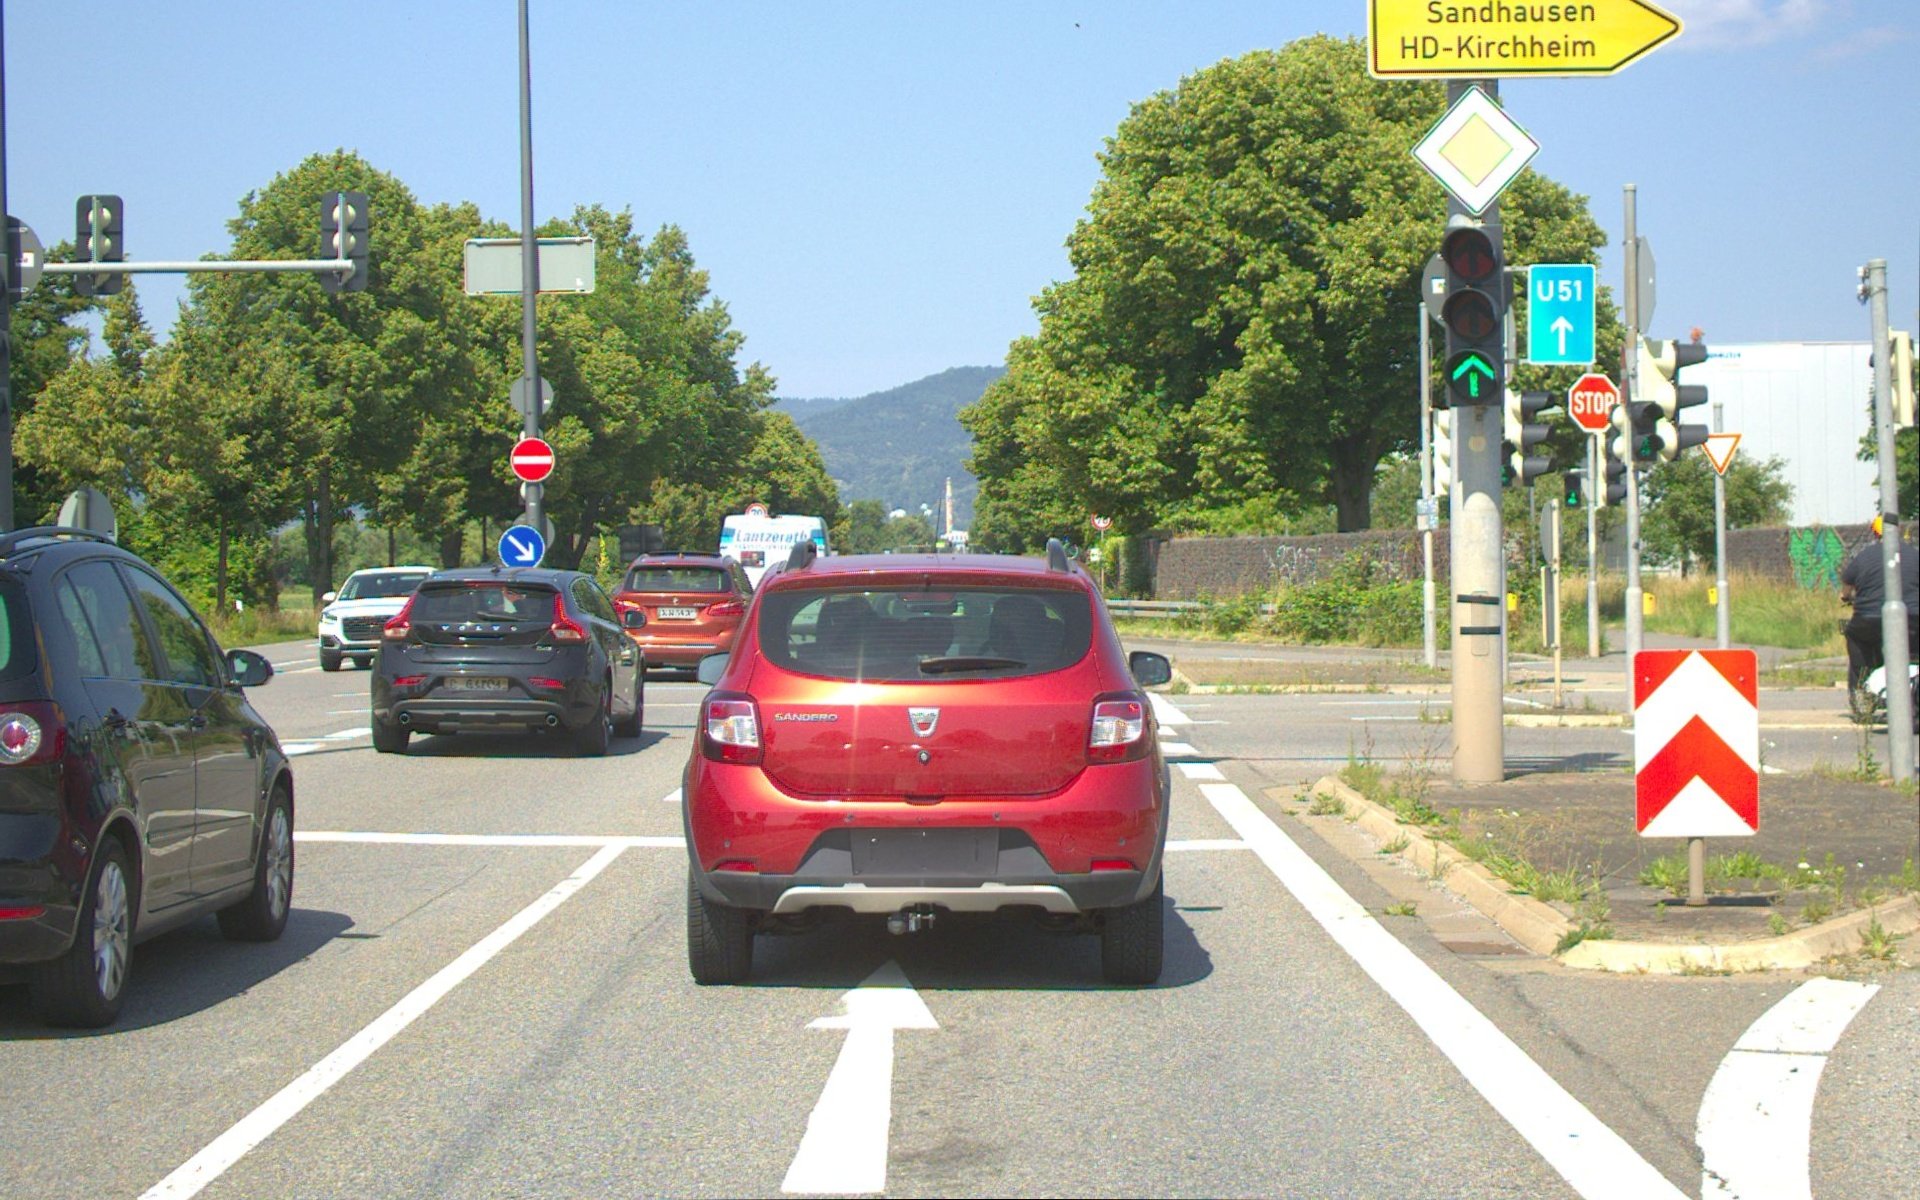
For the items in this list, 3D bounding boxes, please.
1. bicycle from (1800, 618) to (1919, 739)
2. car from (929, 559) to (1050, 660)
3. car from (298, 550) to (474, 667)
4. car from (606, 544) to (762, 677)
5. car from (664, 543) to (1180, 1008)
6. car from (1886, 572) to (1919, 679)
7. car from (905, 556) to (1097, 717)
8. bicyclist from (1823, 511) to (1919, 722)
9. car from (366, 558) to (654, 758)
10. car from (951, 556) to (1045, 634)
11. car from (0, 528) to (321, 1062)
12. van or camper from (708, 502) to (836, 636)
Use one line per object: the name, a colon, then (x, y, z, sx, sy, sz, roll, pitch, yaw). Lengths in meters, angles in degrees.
bicycle: (7.885, 0.645, 29.213, 0.761, 0.911, 2.780, -1, 1, -1)
car: (0.482, 0.117, 52.333, 1.749, 1.453, 3.676, 0, 1, 2)
car: (-8.637, 0.090, 52.027, 1.993, 1.664, 4.000, -1, 1, 0)
car: (-3.432, 0.093, 43.279, 1.724, 1.594, 3.956, 0, 1, -1)
car: (-0.077, 0.575, 13.534, 1.749, 1.570, 3.676, 0, 1, 2)
car: (13.969, 0.299, 42.953, 4.370, 1.322, 1.804, 0, 1, 26)
car: (0.428, 0.308, 33.275, 1.749, 1.453, 3.676, 0, 1, 2)
bicyclist: (7.870, 0.134, 29.311, 0.802, 1.765, 0.809, -1, 1, -1)
car: (-3.481, 0.402, 27.209, 1.702, 1.437, 3.955, 1, 1, 1)
car: (0.771, -0.113, 66.886, 1.749, 1.453, 3.676, 0, 1, 2)
car: (-3.495, 0.535, 12.067, 1.723, 1.570, 3.892, 1, 1, 1)
van or camper: (-3.316, -0.574, 61.360, 2.179, 2.295, 4.827, 0, 1, -2)
